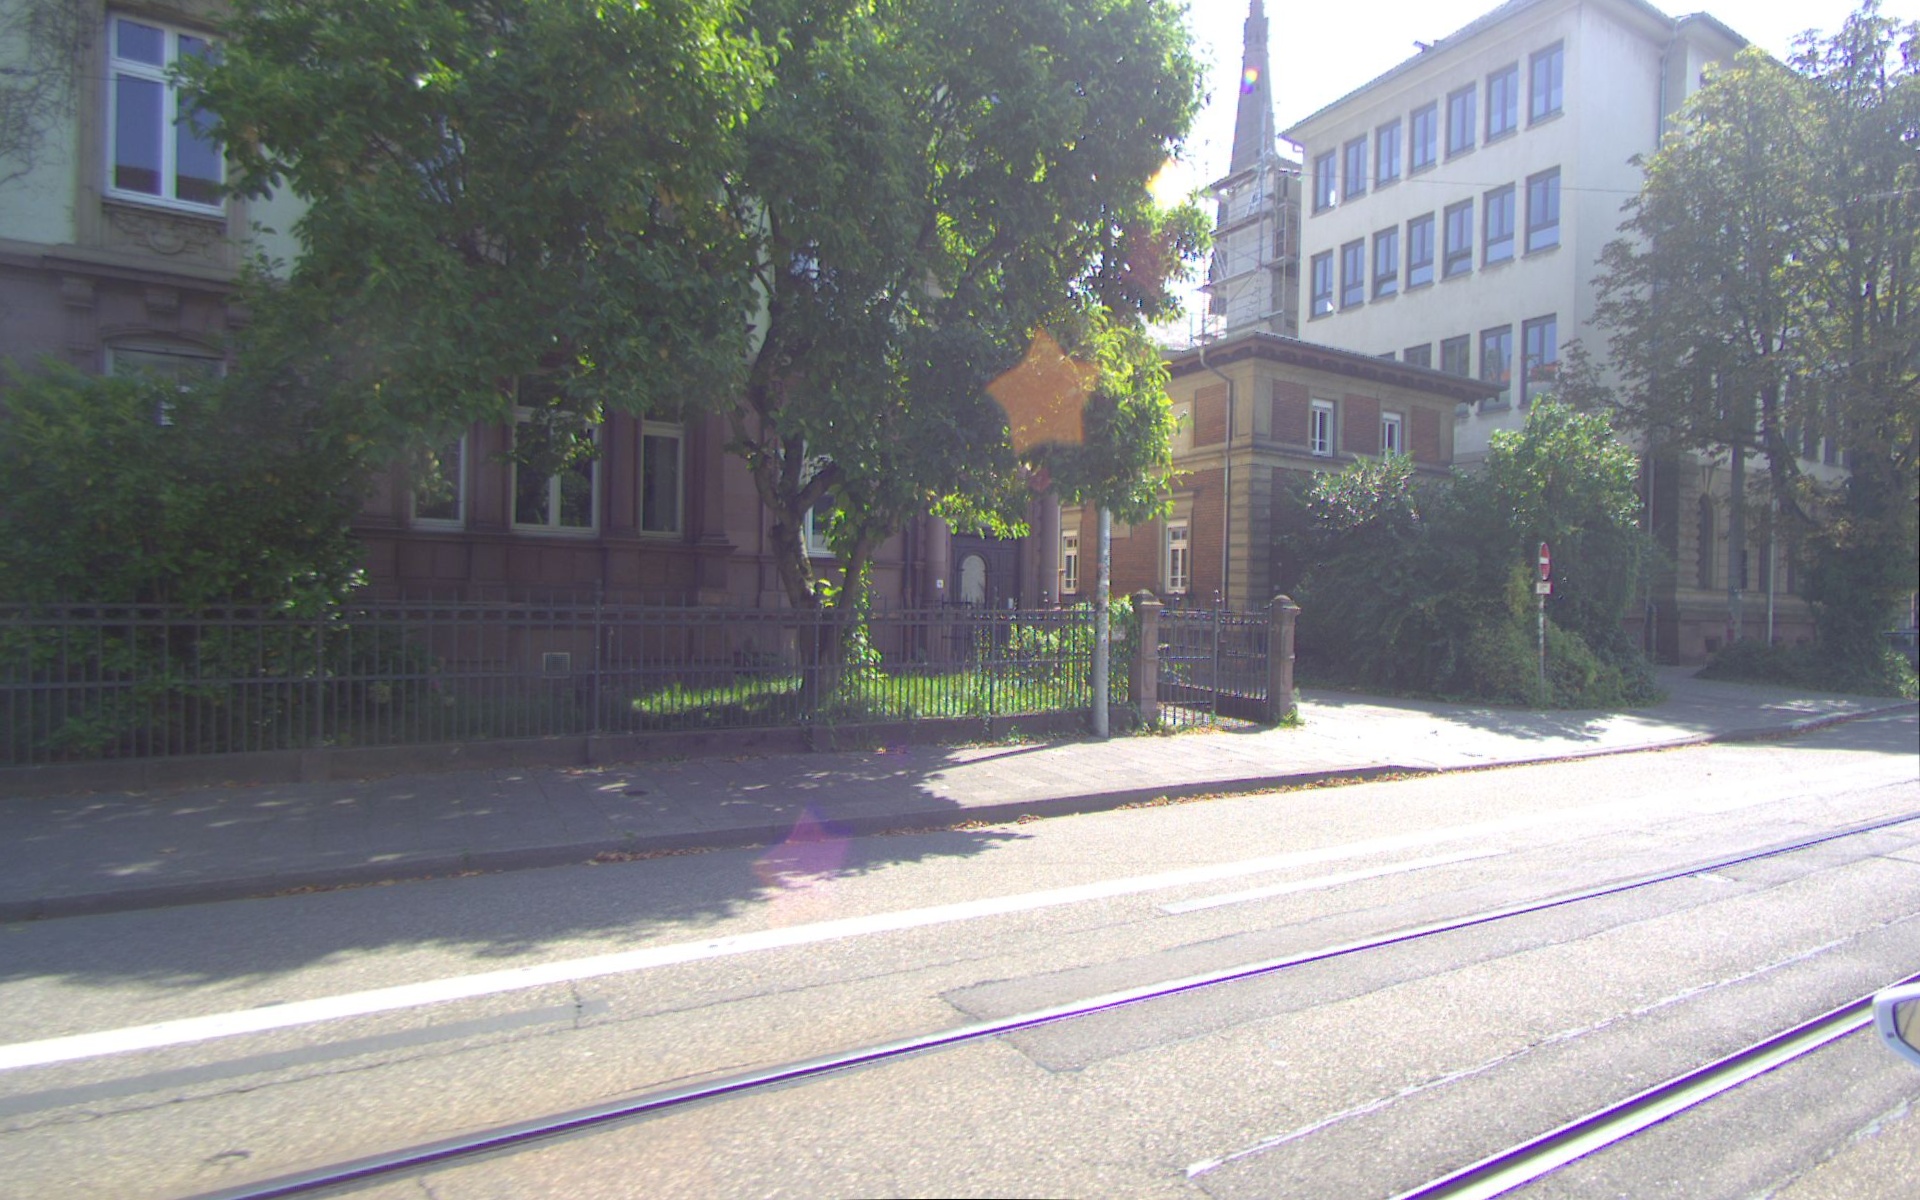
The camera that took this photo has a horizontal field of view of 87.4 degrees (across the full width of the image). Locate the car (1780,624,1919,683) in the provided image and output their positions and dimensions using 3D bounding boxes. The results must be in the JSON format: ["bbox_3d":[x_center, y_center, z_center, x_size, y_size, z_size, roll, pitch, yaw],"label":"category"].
[{"bbox_3d":[26.393,1.524,28.730,4.354,1.481,1.816,2,0,34],"label":"car"}]
